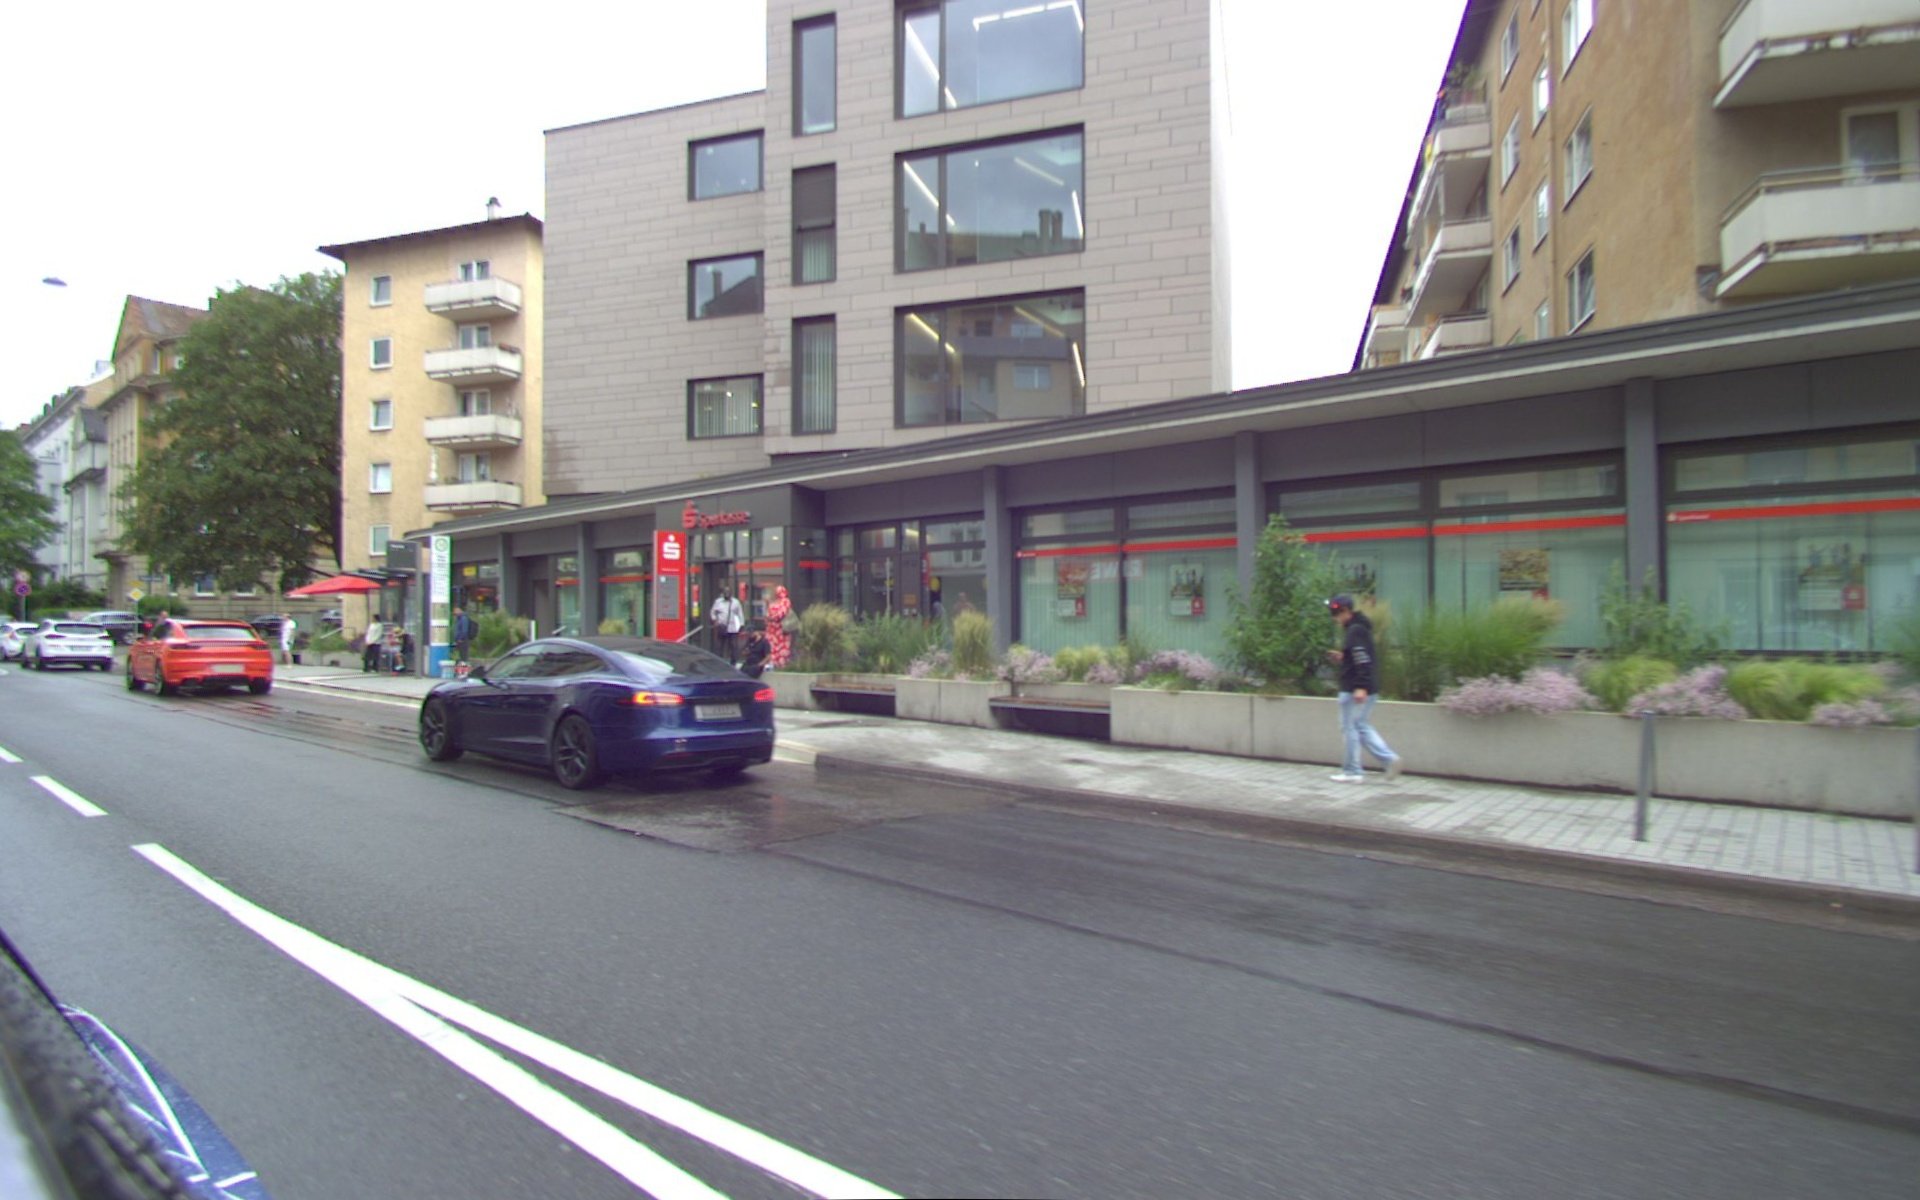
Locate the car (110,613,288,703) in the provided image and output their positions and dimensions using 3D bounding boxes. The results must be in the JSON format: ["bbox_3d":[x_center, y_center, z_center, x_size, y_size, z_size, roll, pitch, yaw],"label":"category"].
[{"bbox_3d":[-17.134,1.216,22.692,5.056,1.778,2.084,0,-2,40],"label":"car"}]

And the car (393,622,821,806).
[{"bbox_3d":[-3.875,1.027,10.674,4.906,1.523,1.936,-1,-3,39],"label":"car"}]

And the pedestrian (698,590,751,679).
[{"bbox_3d":[-4.608,0.664,19.796,0.713,1.691,0.706,-2,-1,40],"label":"pedestrian"}]

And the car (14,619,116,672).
[{"bbox_3d":[-29.051,1.454,32.819,4.122,1.585,1.875,0,-3,40],"label":"car"}]

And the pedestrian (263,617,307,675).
[{"bbox_3d":[-20.796,1.404,31.190,0.755,1.721,0.789,-2,0,15],"label":"pedestrian"}]

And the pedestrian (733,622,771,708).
[{"bbox_3d":[-3.536,1.086,17.199,0.582,1.431,0.727,0,-1,-15],"label":"pedestrian"}]

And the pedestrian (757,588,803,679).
[{"bbox_3d":[-3.439,0.631,19.285,0.701,1.691,0.803,0,-1,-22],"label":"pedestrian"}]

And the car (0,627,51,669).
[{"bbox_3d":[-35.511,1.760,37.922,3.804,1.475,1.599,-1,-4,40],"label":"car"}]

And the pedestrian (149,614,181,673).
[{"bbox_3d":[-27.680,1.497,35.243,0.781,2.029,0.695,0,-1,37],"label":"pedestrian"}]

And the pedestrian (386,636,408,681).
[{"bbox_3d":[-14.285,1.478,25.685,0.386,1.125,0.388,-1,-1,40],"label":"pedestrian"}]

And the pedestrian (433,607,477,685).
[{"bbox_3d":[-12.059,1.084,24.180,0.868,1.833,0.584,-1,-1,32],"label":"pedestrian"}]

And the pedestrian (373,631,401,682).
[{"bbox_3d":[-14.700,1.432,25.946,0.549,1.287,0.463,-1,-1,40],"label":"pedestrian"}]

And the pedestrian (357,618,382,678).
[{"bbox_3d":[-15.781,1.269,27.036,0.532,1.561,0.433,-1,-1,40],"label":"pedestrian"}]

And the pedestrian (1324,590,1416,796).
[{"bbox_3d":[3.841,0.841,9.513,0.717,1.840,0.718,-2,-1,22],"label":"pedestrian"}]
